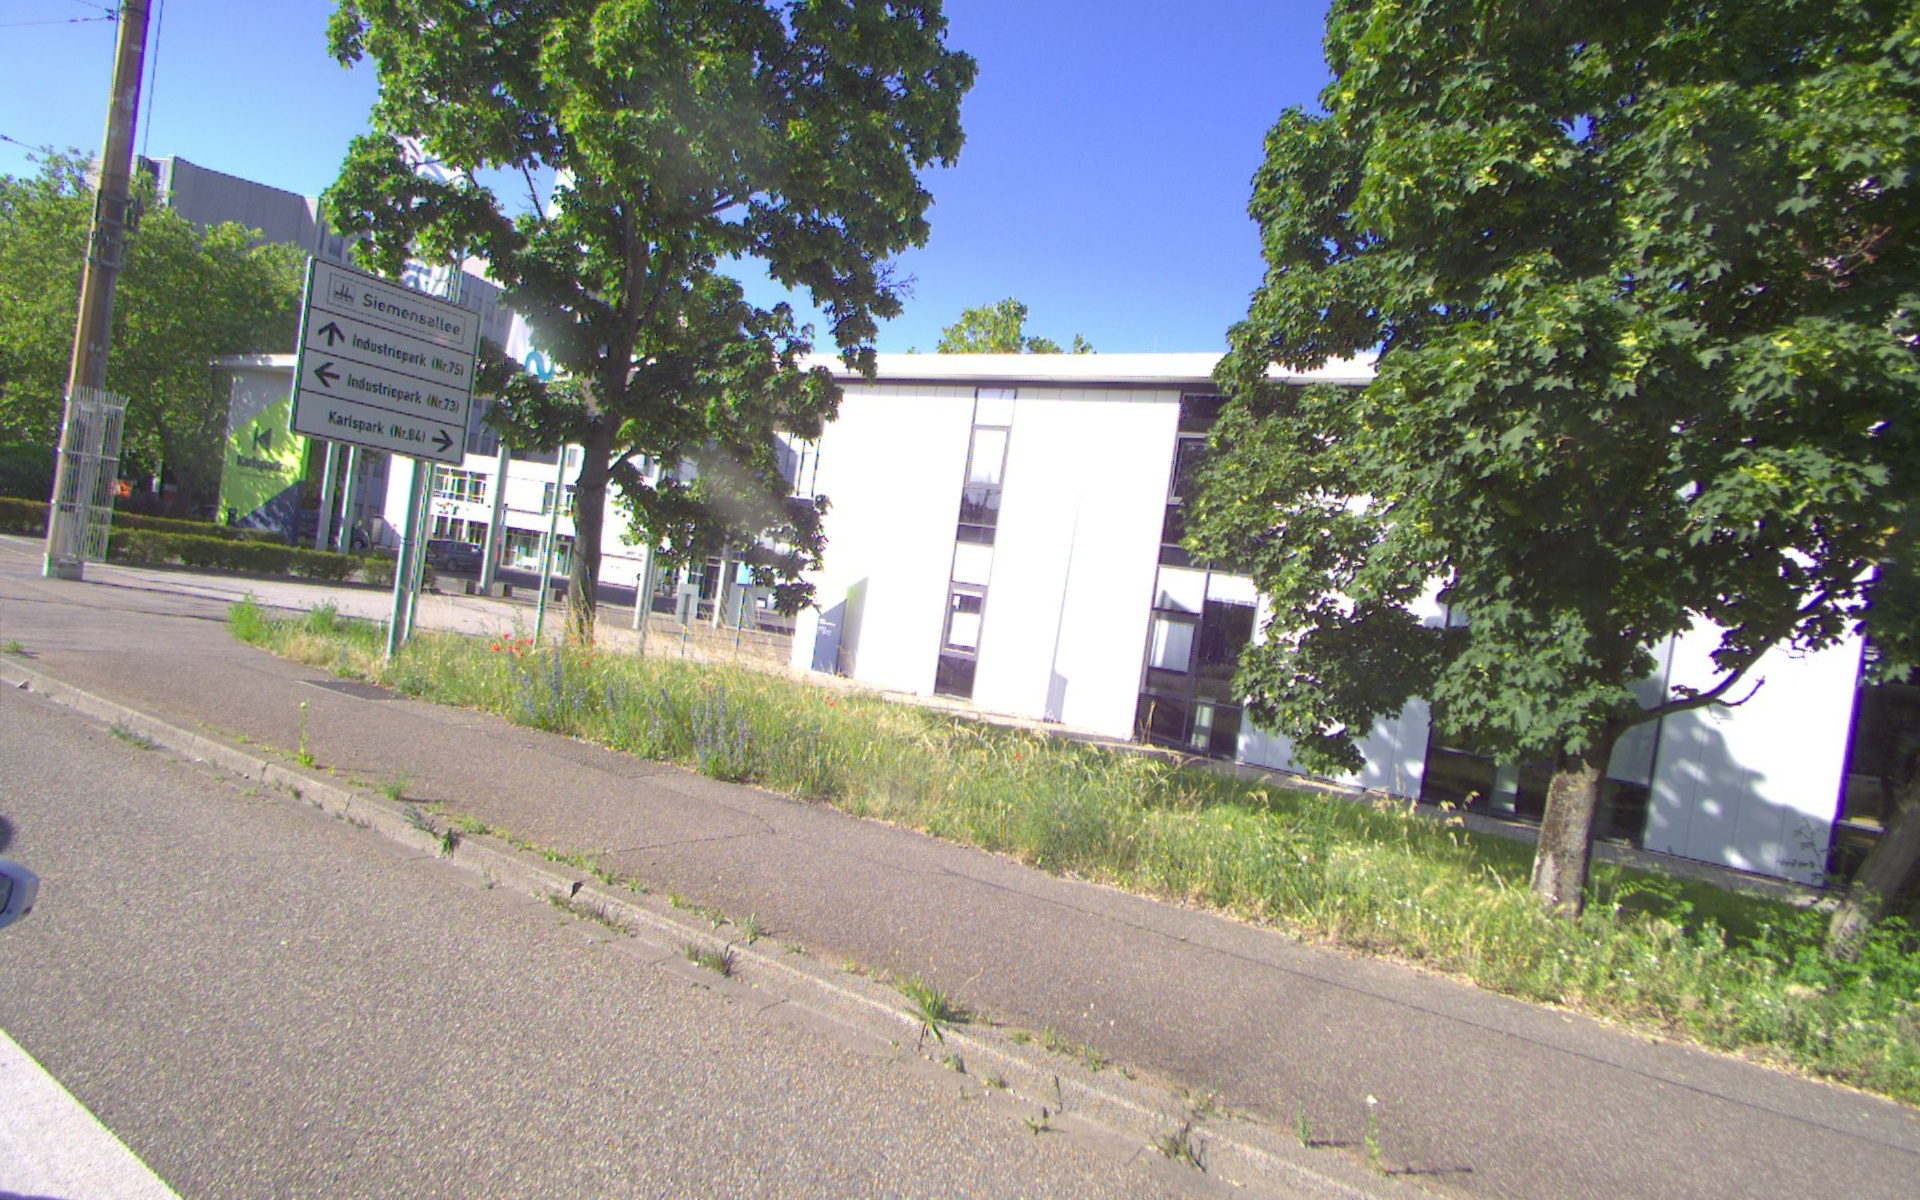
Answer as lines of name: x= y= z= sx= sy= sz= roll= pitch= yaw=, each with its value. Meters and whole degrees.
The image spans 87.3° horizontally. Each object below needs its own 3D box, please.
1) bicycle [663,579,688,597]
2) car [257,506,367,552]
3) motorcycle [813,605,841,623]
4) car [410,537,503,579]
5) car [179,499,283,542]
bicycle: x=-20.258 y=-0.859 z=71.665 sx=1.591 sy=1.016 sz=0.566 roll=8 pitch=0 yaw=17
car: x=-36.277 y=-3.952 z=56.503 sx=2.052 sy=1.778 sz=4.900 roll=8 pitch=-1 yaw=17
motorcycle: x=-8.973 y=0.923 z=67.854 sx=1.701 sy=0.959 sz=0.653 roll=8 pitch=0 yaw=17
car: x=-26.675 y=-2.207 z=53.447 sx=1.918 sy=1.597 sz=4.000 roll=8 pitch=-1 yaw=23
car: x=-42.653 y=-4.638 z=58.962 sx=1.861 sy=1.706 sz=4.468 roll=8 pitch=-1 yaw=26
